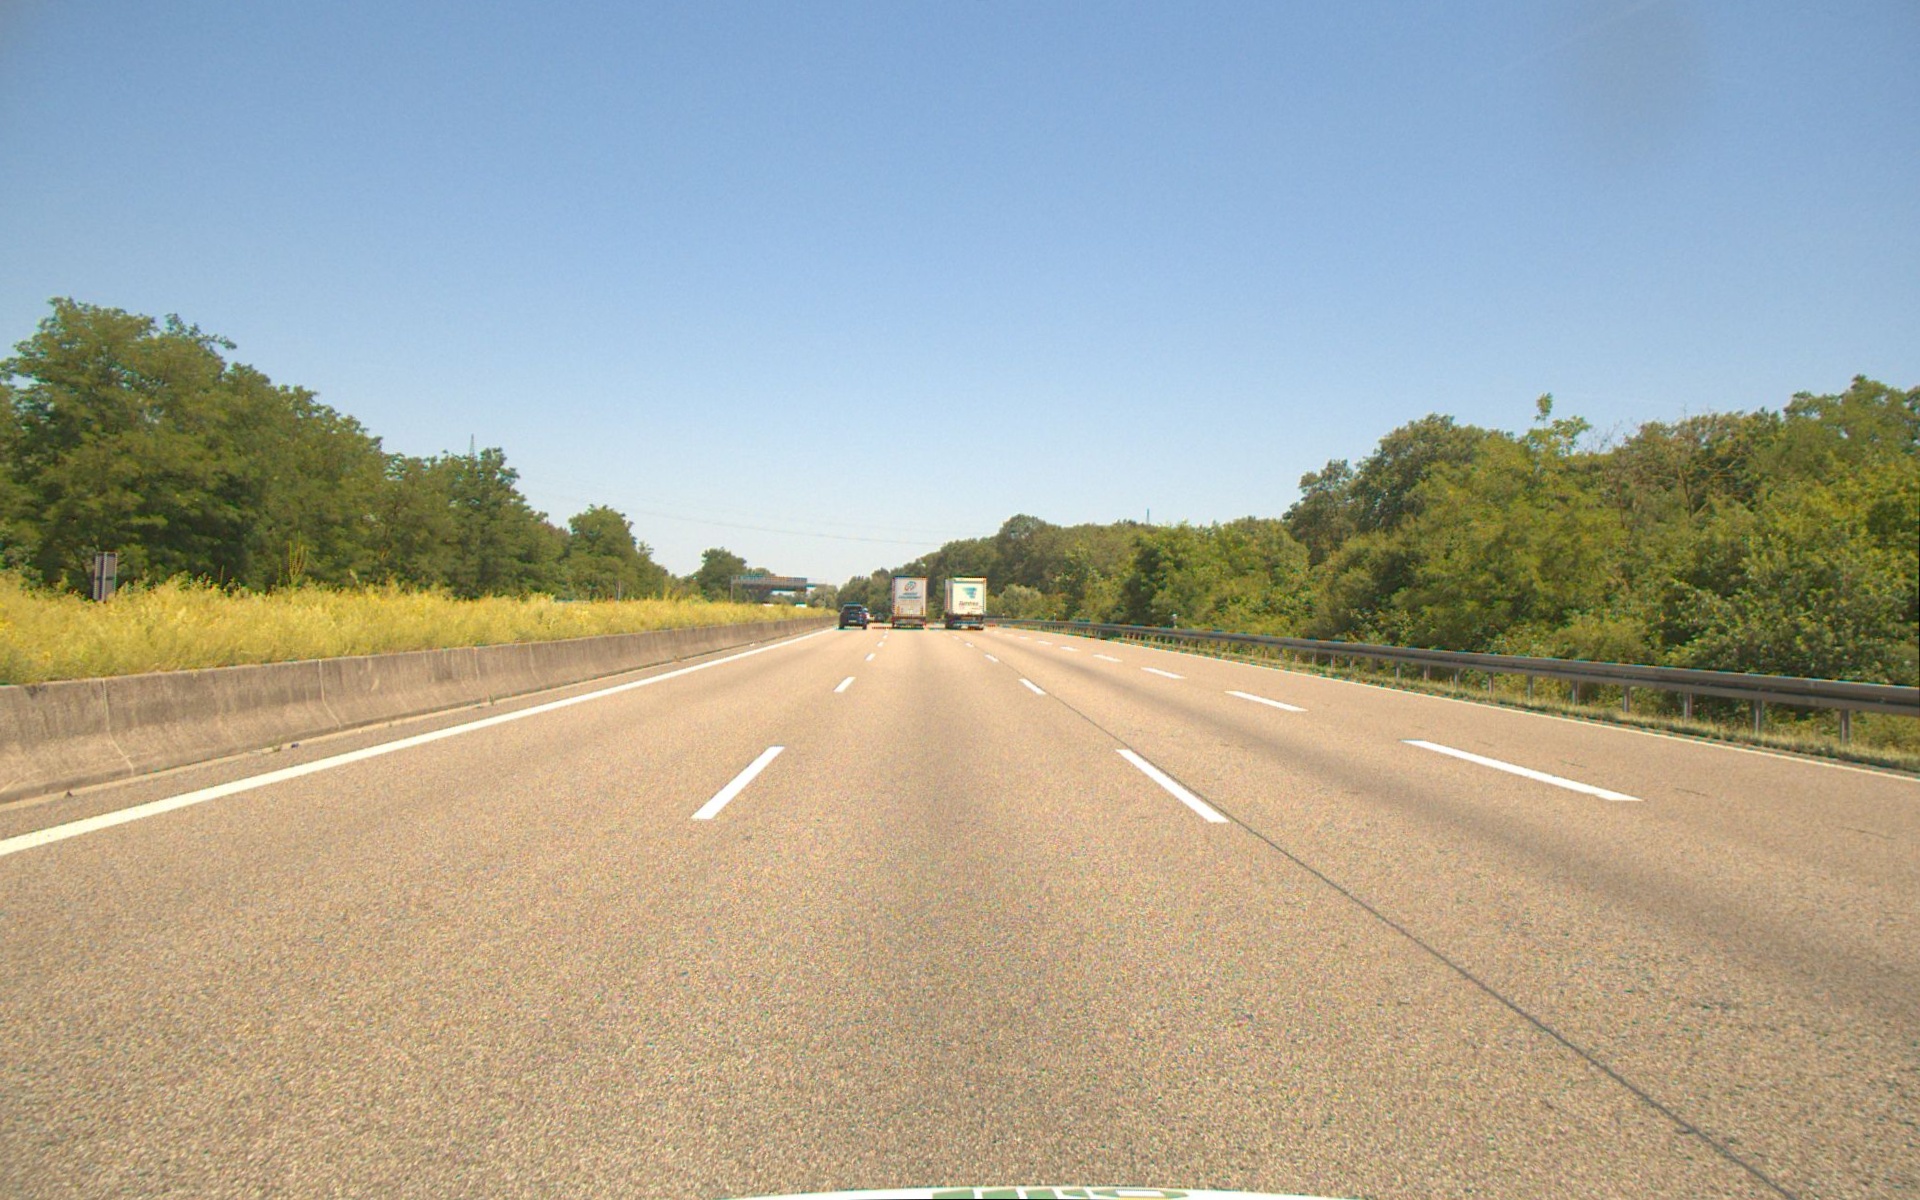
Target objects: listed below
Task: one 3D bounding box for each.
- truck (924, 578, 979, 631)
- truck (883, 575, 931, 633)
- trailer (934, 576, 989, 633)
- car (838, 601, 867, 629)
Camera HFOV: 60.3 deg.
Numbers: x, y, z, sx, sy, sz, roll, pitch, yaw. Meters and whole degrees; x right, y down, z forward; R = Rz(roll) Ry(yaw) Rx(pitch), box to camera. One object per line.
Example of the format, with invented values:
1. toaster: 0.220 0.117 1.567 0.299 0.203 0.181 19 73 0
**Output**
1. truck: -0.801 0.311 136.119 3.262 4.124 10.938 1 0 -7
2. truck: -4.161 0.290 128.246 3.166 4.275 8.457 1 0 -5
3. trailer: 0.043 0.321 127.932 3.302 4.215 9.081 1 0 -5
4. car: -7.713 1.055 118.342 1.954 1.907 3.996 1 0 -5
